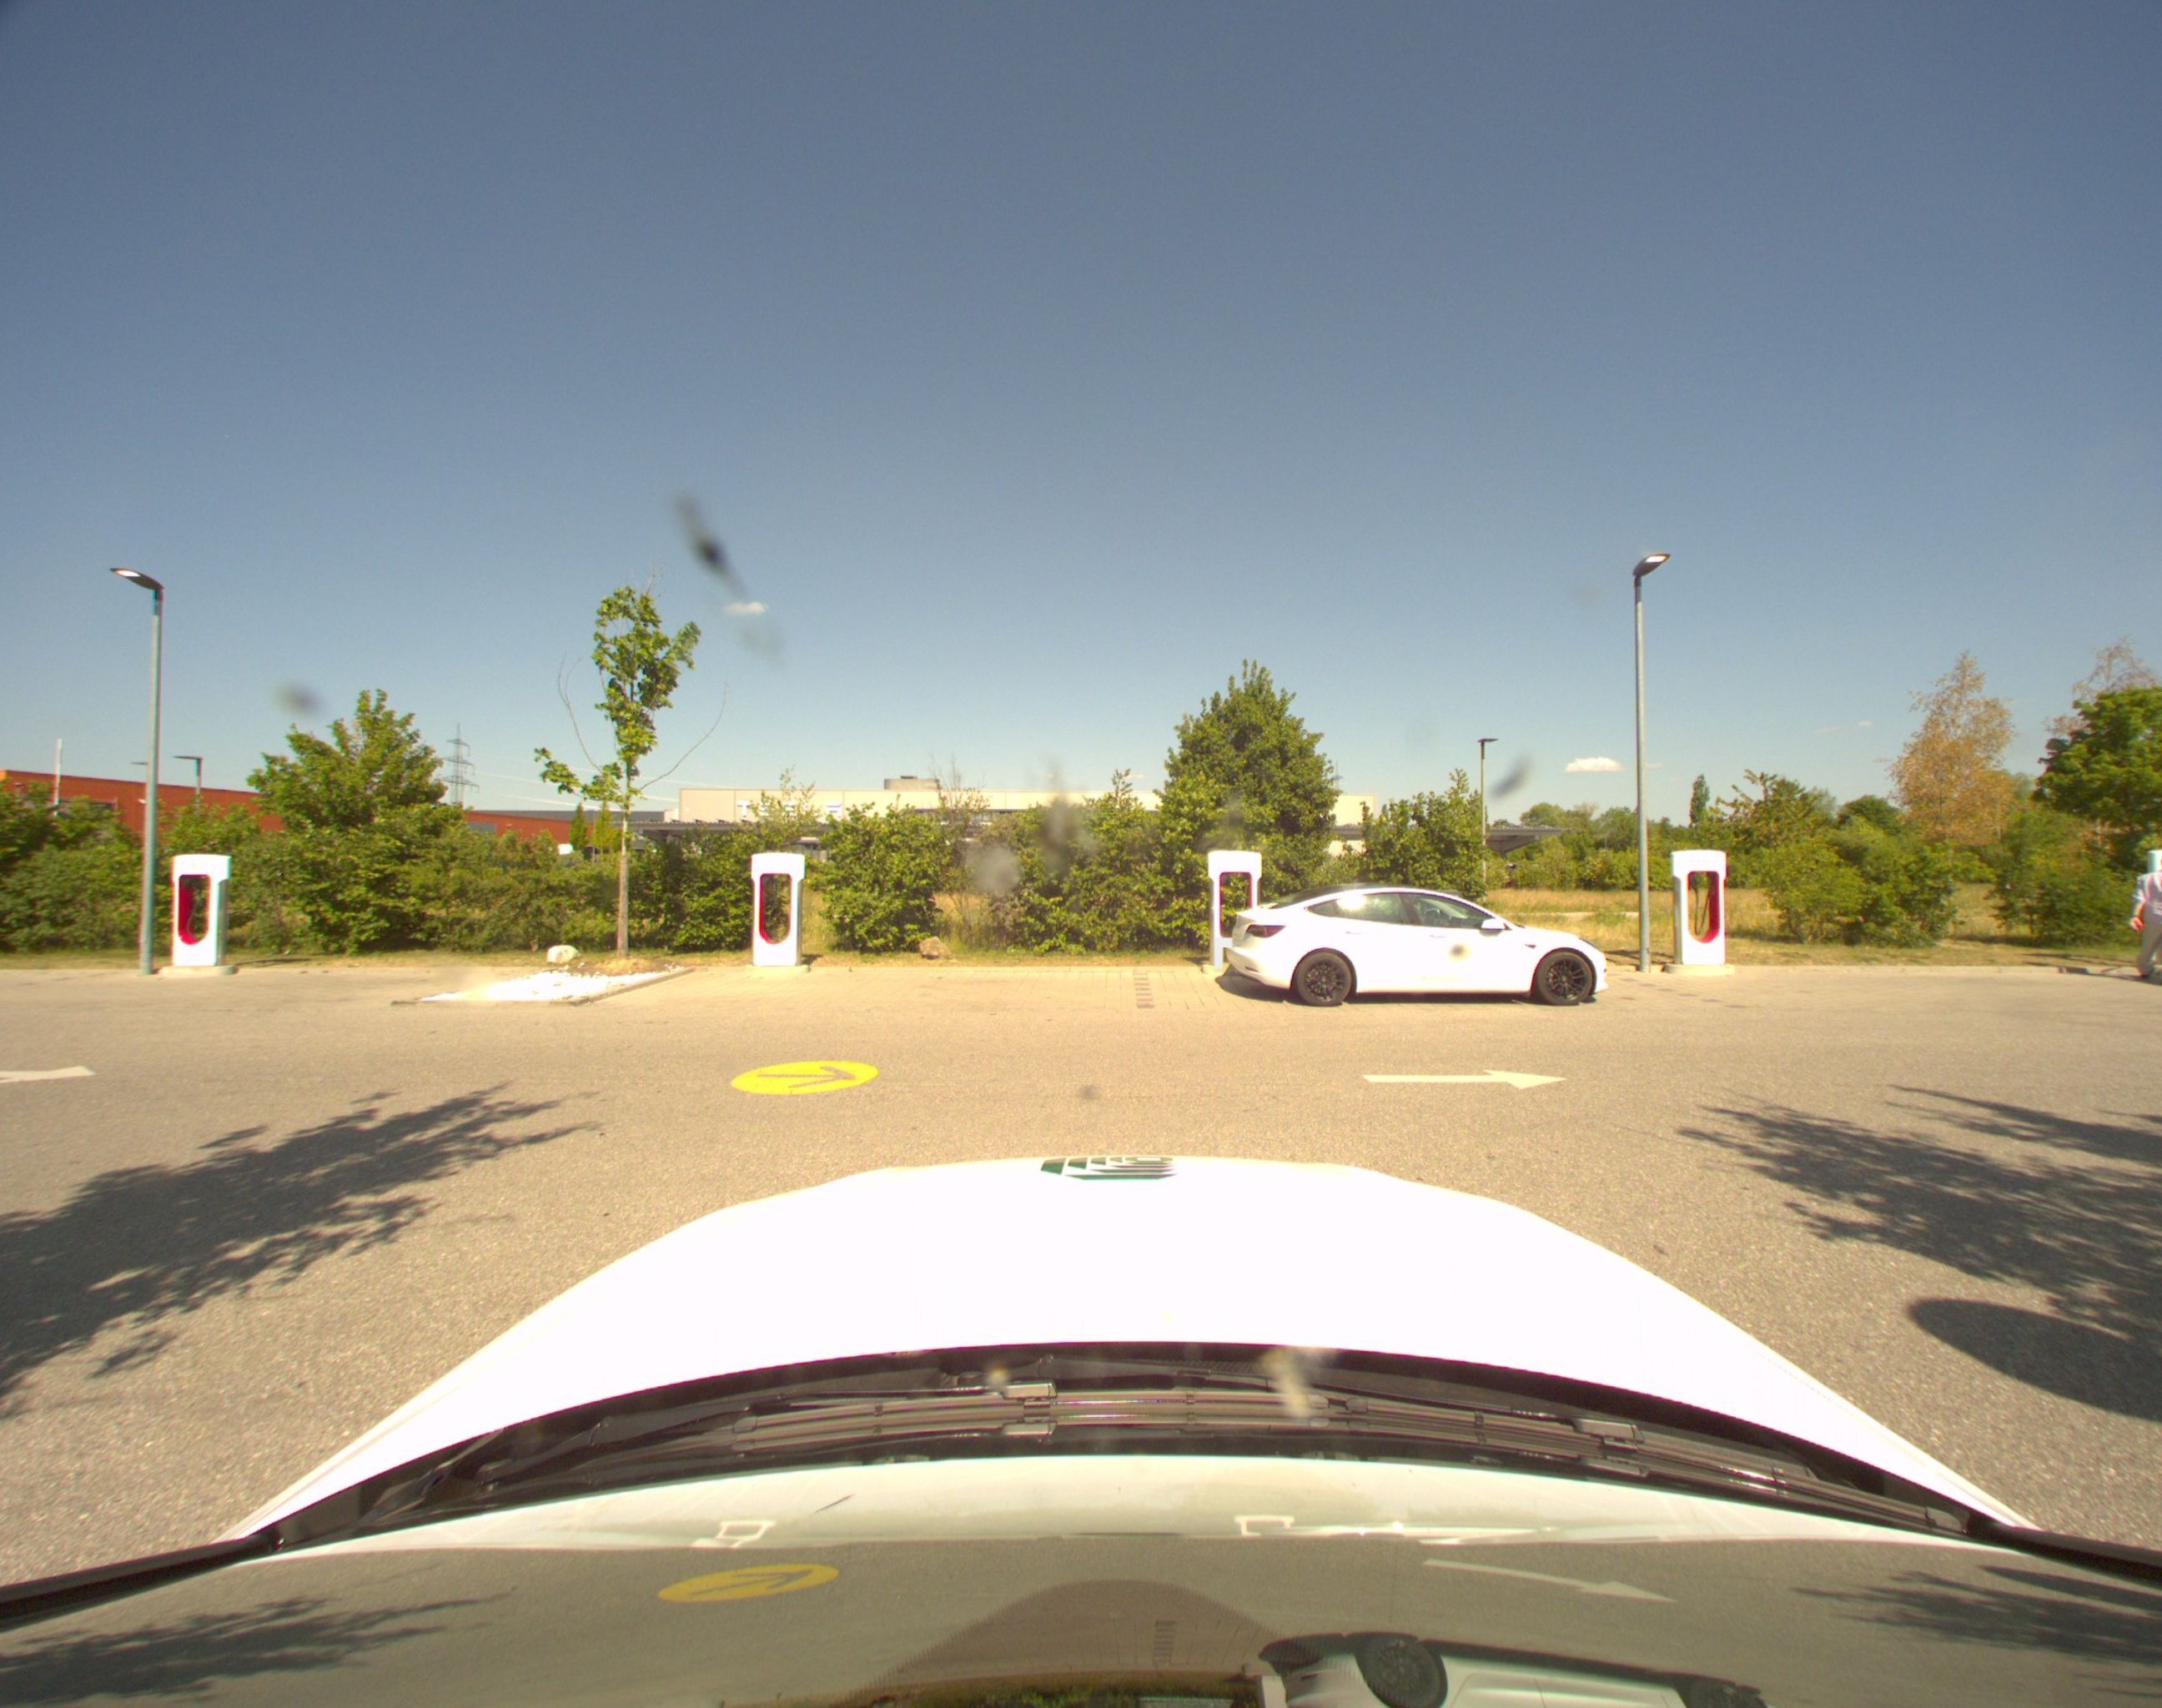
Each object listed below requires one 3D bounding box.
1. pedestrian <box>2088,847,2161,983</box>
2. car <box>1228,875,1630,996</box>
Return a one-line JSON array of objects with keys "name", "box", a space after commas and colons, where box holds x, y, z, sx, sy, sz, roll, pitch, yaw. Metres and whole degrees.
[{"name": "pedestrian", "box": [14.843, 0.813, 11.233, 1.029, 1.800, 0.736, 0, 0, -2]}, {"name": "car", "box": [4.248, 0.982, 10.484, 4.418, 1.377, 1.822, 0, -1, 1]}]
